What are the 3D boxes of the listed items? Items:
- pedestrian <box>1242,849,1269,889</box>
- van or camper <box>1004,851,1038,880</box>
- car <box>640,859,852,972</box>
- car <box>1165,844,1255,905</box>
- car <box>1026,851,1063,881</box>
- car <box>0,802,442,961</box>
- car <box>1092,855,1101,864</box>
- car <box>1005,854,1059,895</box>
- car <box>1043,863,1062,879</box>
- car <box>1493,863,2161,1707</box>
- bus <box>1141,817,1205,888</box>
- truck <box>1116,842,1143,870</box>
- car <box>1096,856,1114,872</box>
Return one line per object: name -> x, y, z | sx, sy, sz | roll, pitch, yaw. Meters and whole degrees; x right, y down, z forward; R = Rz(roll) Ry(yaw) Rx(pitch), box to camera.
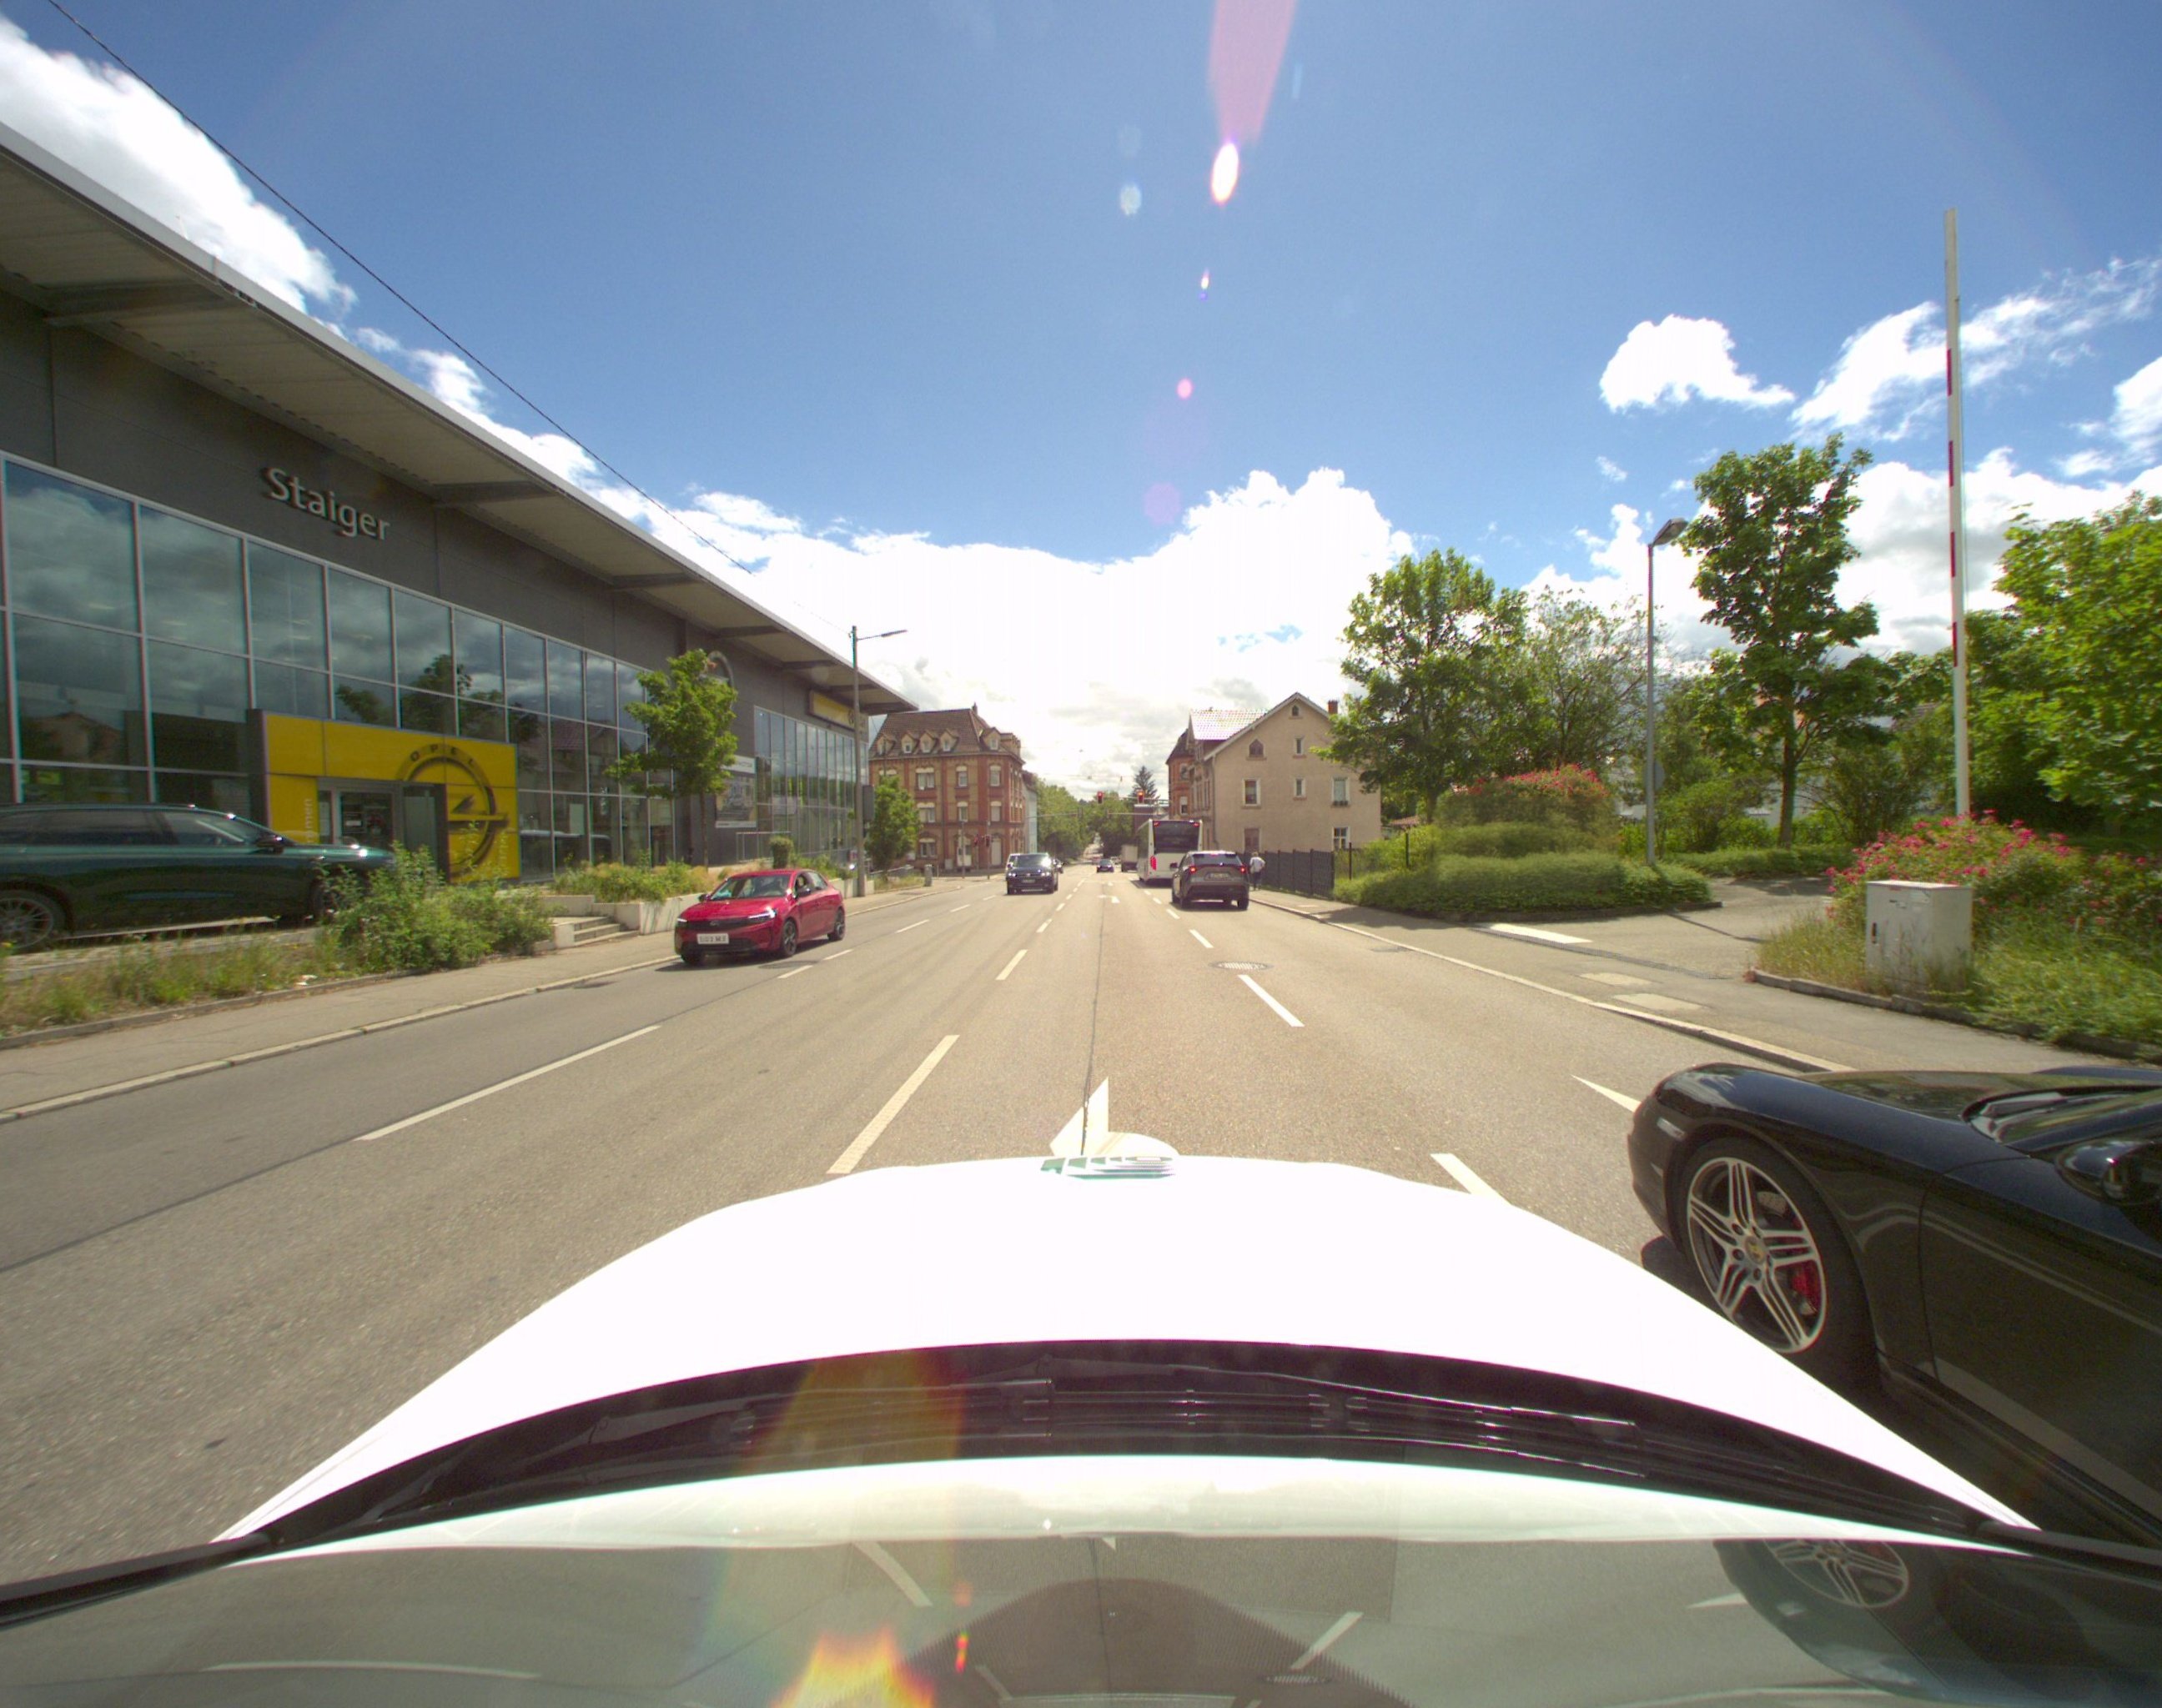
pedestrian -> 7.159, 0.590, 33.432 | 0.810, 1.581, 1.070 | -3, 0, 1
van or camper -> -4.252, 0.794, 58.453 | 1.963, 1.914, 5.129 | -1, 0, 1
car -> -5.516, 0.928, 14.029 | 1.864, 1.491, 3.850 | -4, 0, 2
car -> 3.649, 0.596, 23.756 | 1.924, 1.583, 4.207 | -1, -1, 0
car -> -2.071, 0.665, 47.570 | 1.857, 1.656, 4.380 | -1, 0, 1
car -> -11.652, 0.213, 10.804 | 1.975, 1.698, 4.513 | 0, 3, 27
car -> 3.371, 1.132, 173.932 | 1.826, 1.881, 4.000 | -2, 1, 0
car -> -1.937, 0.774, 33.339 | 1.857, 1.540, 4.107 | -1, 0, 1
car -> -3.258, 1.908, 92.958 | 1.857, 1.666, 4.260 | -1, 0, 1
car -> 2.836, 0.832, 1.446 | 1.926, 1.376, 4.204 | -1, 2, -3
bus -> 4.686, -0.141, 43.669 | 2.790, 3.197, 12.208 | -1, 1, 4
truck -> 5.745, 0.248, 97.488 | 2.658, 3.108, 9.035 | -2, 0, 0
car -> 2.542, 1.051, 87.218 | 1.857, 1.666, 4.260 | -1, 0, 1
